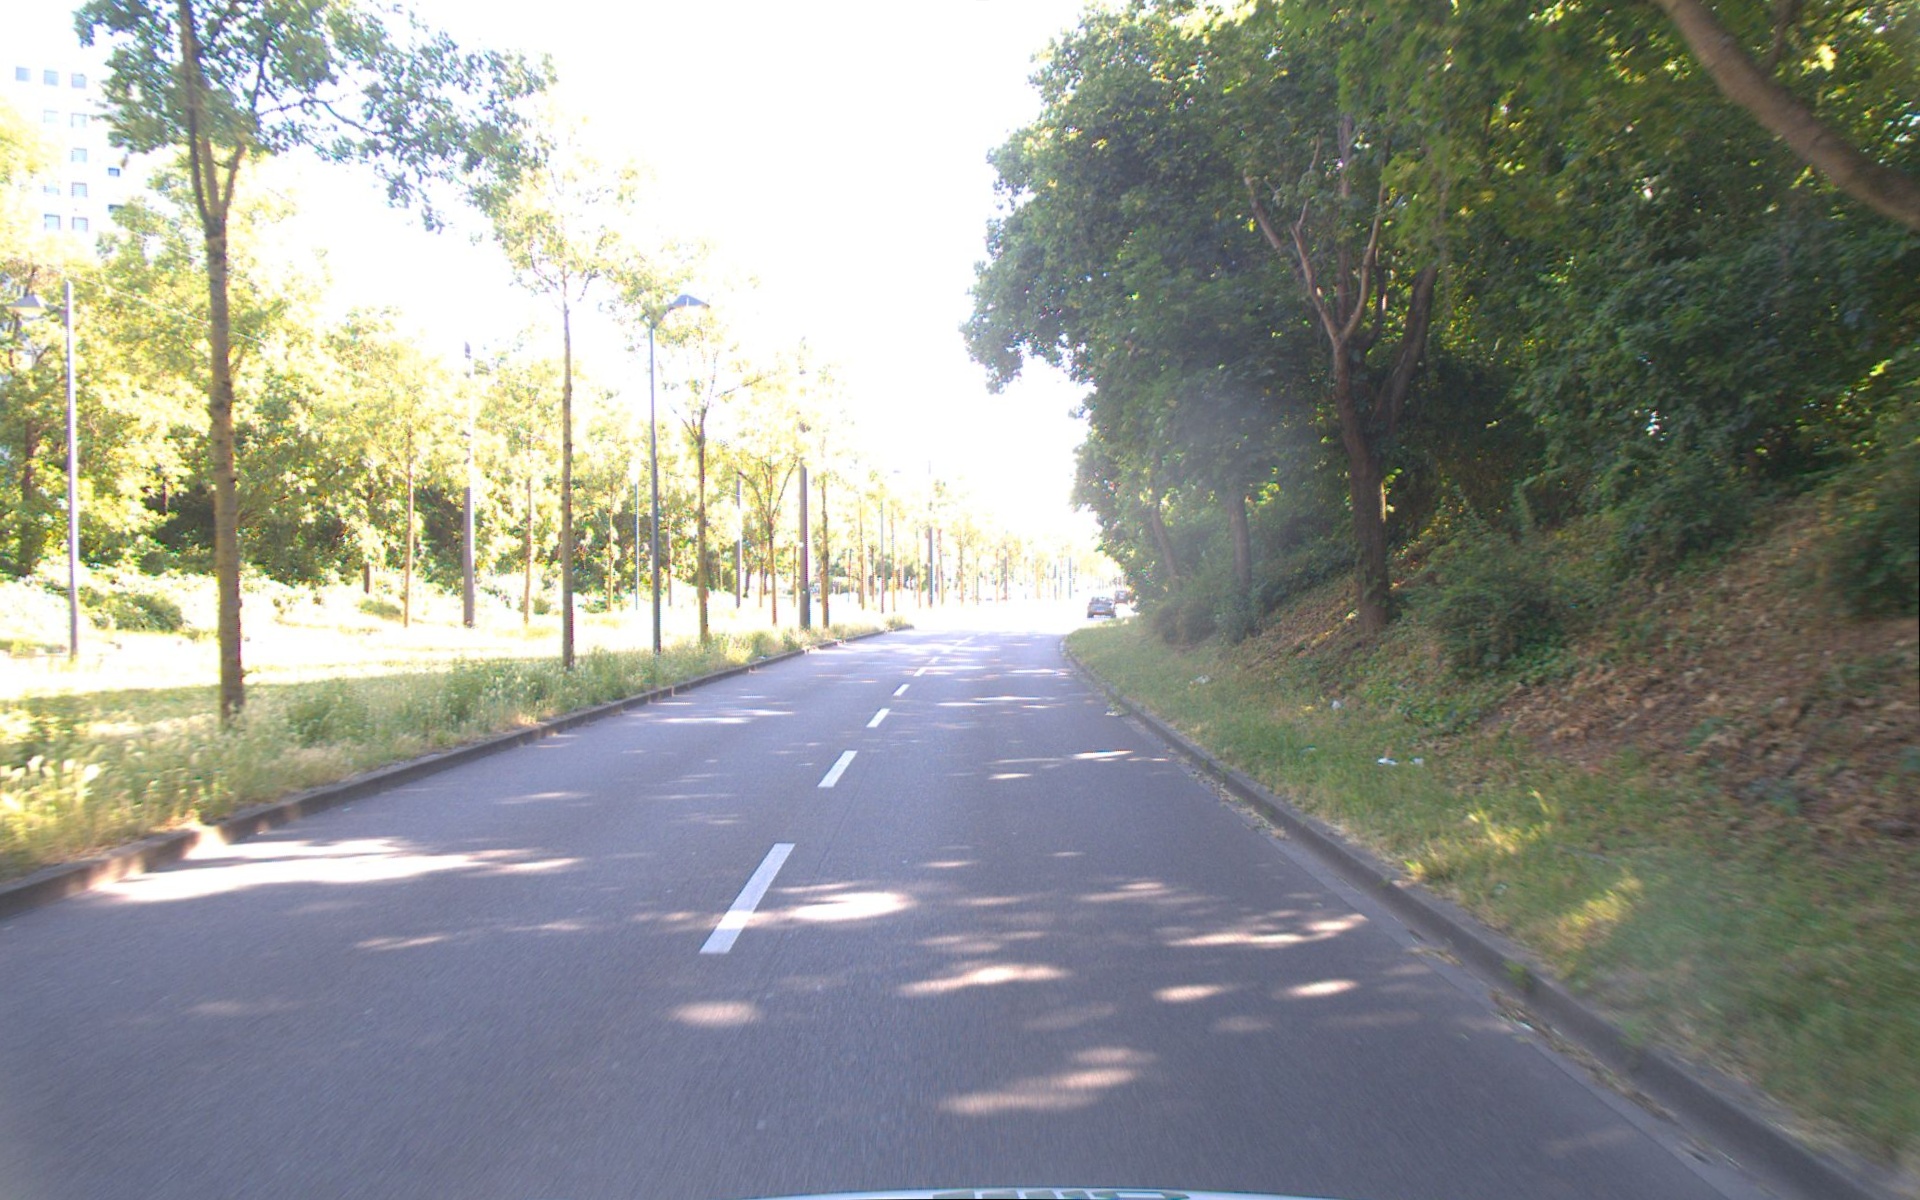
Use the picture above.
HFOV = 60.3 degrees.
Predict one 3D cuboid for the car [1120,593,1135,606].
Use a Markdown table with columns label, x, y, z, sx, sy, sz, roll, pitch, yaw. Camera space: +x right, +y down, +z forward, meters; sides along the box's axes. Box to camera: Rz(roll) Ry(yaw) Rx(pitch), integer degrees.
| label | x | y | z | sx | sy | sz | roll | pitch | yaw |
| --- | --- | --- | --- | --- | --- | --- | --- | --- | --- |
| car | 19.629 | -0.044 | 193.789 | 1.599 | 1.524 | 4.238 | 0 | 0 | 9 |

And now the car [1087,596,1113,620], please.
| label | x | y | z | sx | sy | sz | roll | pitch | yaw |
| --- | --- | --- | --- | --- | --- | --- | --- | --- | --- |
| car | 9.141 | 0.509 | 108.003 | 1.599 | 1.524 | 4.237 | 0 | 0 | 6 |
